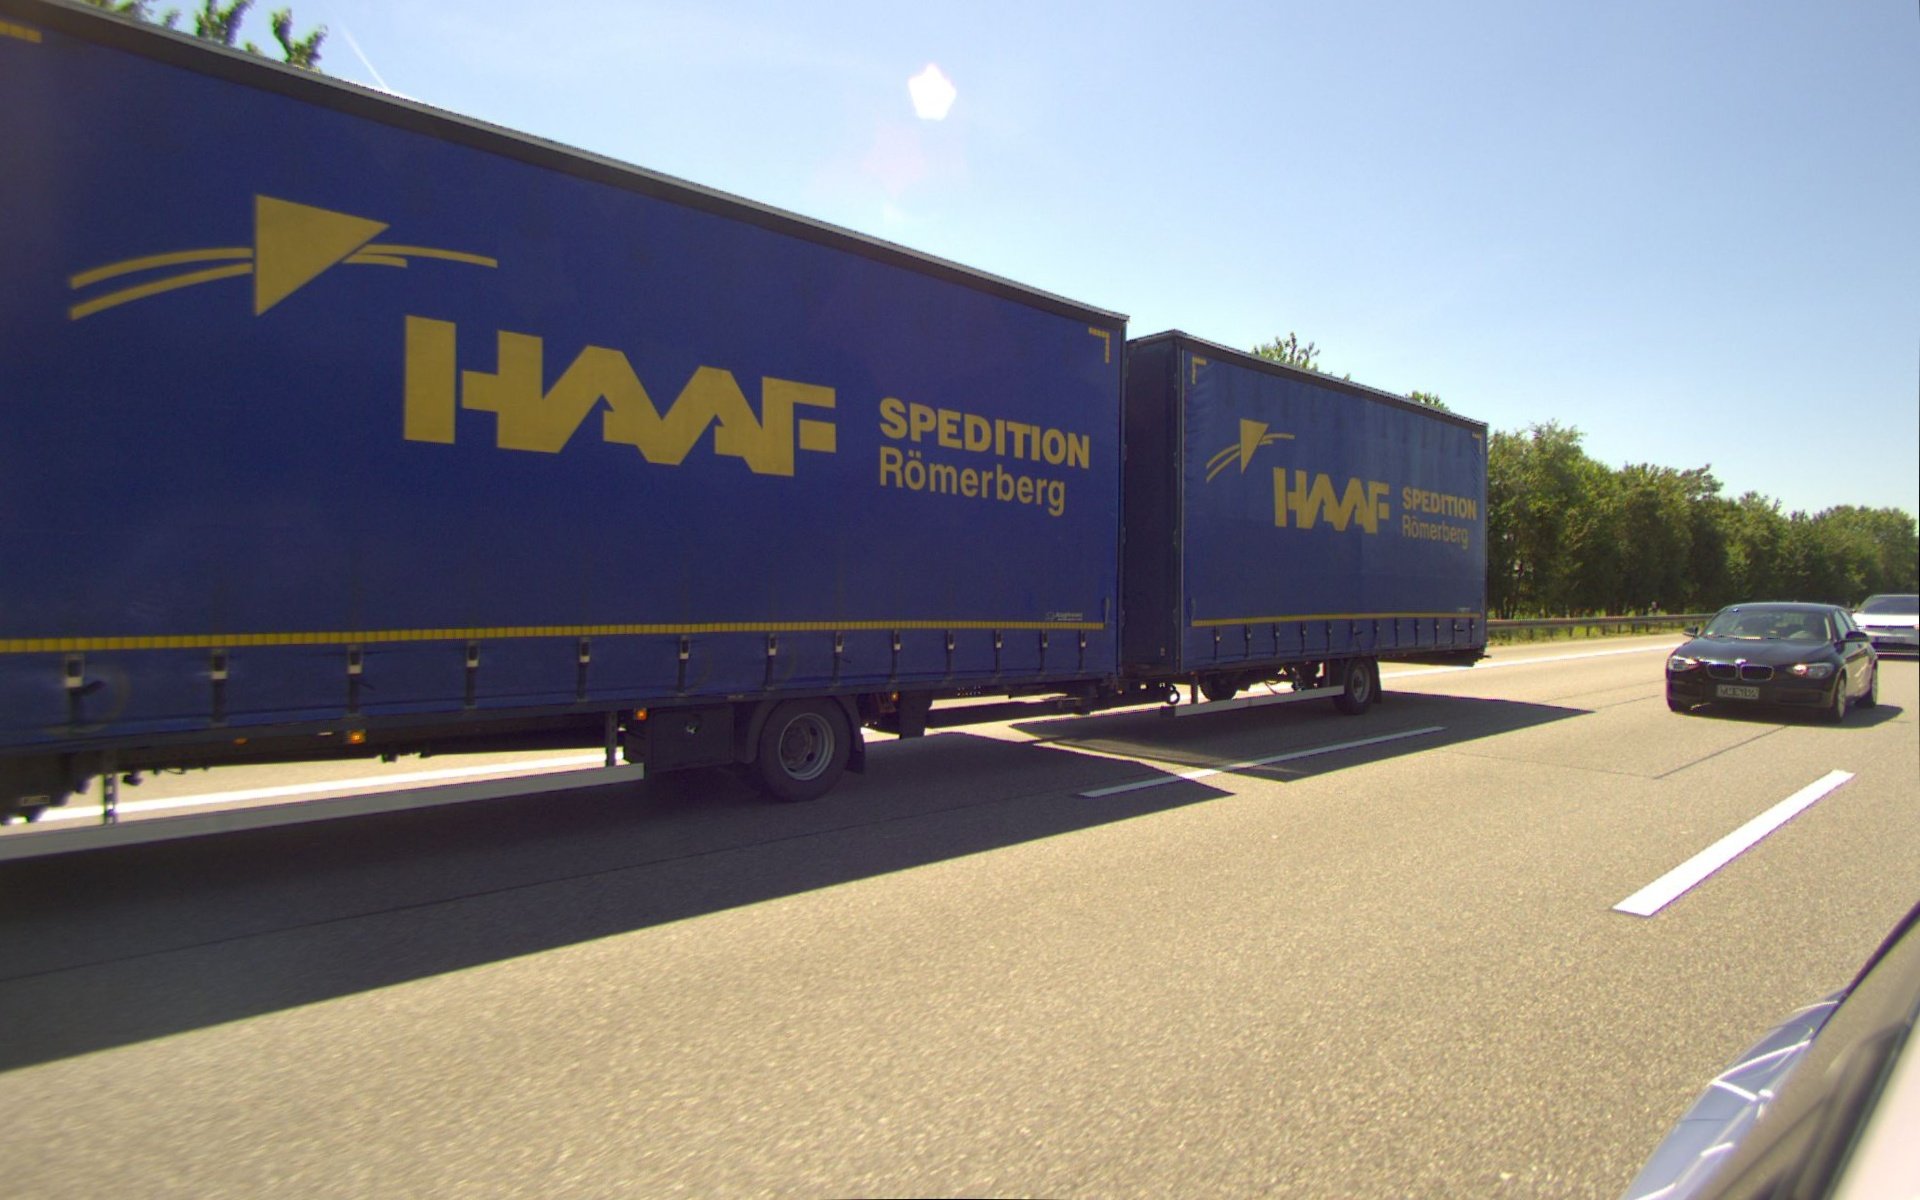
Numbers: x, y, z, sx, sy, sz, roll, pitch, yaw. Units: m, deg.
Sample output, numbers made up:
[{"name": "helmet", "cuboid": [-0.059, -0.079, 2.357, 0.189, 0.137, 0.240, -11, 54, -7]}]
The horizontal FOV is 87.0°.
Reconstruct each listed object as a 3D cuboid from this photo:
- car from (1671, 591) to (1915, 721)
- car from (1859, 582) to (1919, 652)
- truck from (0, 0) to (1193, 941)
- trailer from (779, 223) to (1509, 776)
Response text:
[{"name": "car", "cuboid": [11.291, 0.617, 13.609, 4.419, 1.435, 1.839, 0, 1, -41]}, {"name": "car", "cuboid": [24.385, 0.404, 25.673, 3.930, 1.664, 1.885, 0, 1, -41]}, {"name": "truck", "cuboid": [-2.622, -0.776, 7.230, 10.622, 4.257, 2.794, 0, 1, -42]}, {"name": "trailer", "cuboid": [3.131, -0.829, 12.380, 10.619, 4.257, 2.795, 0, 1, -41]}]
